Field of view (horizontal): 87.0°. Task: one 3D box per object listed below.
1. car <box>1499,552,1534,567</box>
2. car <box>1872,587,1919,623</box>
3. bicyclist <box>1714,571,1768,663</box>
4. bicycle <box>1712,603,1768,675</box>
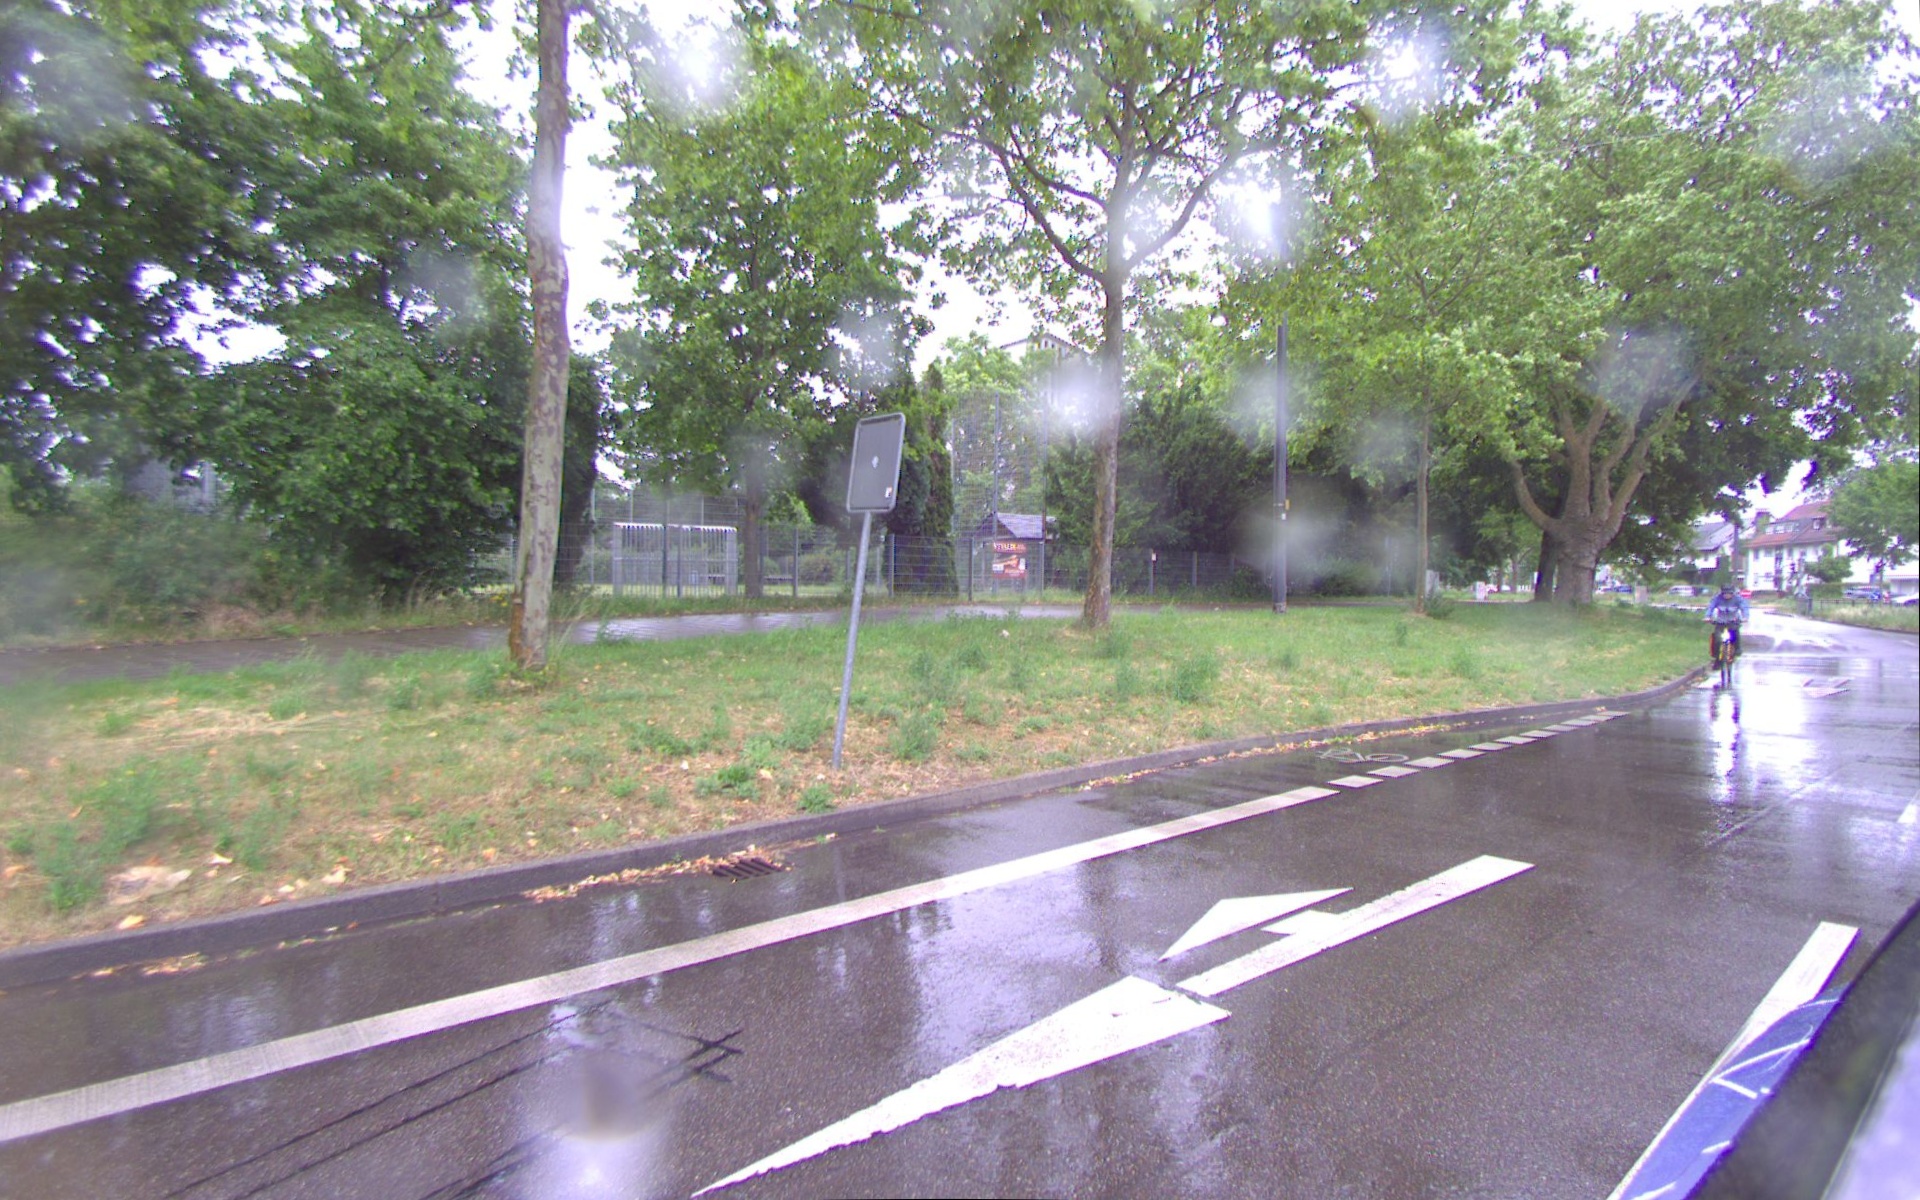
[{"bbox_3d":[73.618,-5.319,133.944,3.958,1.850,1.983,0,0,25],"label":"car"},{"bbox_3d":[39.368,0.187,40.613,4.025,1.438,1.652,0,0,39],"label":"car"},{"bbox_3d":[13.321,0.271,17.260,0.690,1.525,0.832,0,1,40],"label":"bicyclist"},{"bbox_3d":[13.323,0.631,17.267,0.690,1.131,1.858,0,1,40],"label":"bicycle"}]
